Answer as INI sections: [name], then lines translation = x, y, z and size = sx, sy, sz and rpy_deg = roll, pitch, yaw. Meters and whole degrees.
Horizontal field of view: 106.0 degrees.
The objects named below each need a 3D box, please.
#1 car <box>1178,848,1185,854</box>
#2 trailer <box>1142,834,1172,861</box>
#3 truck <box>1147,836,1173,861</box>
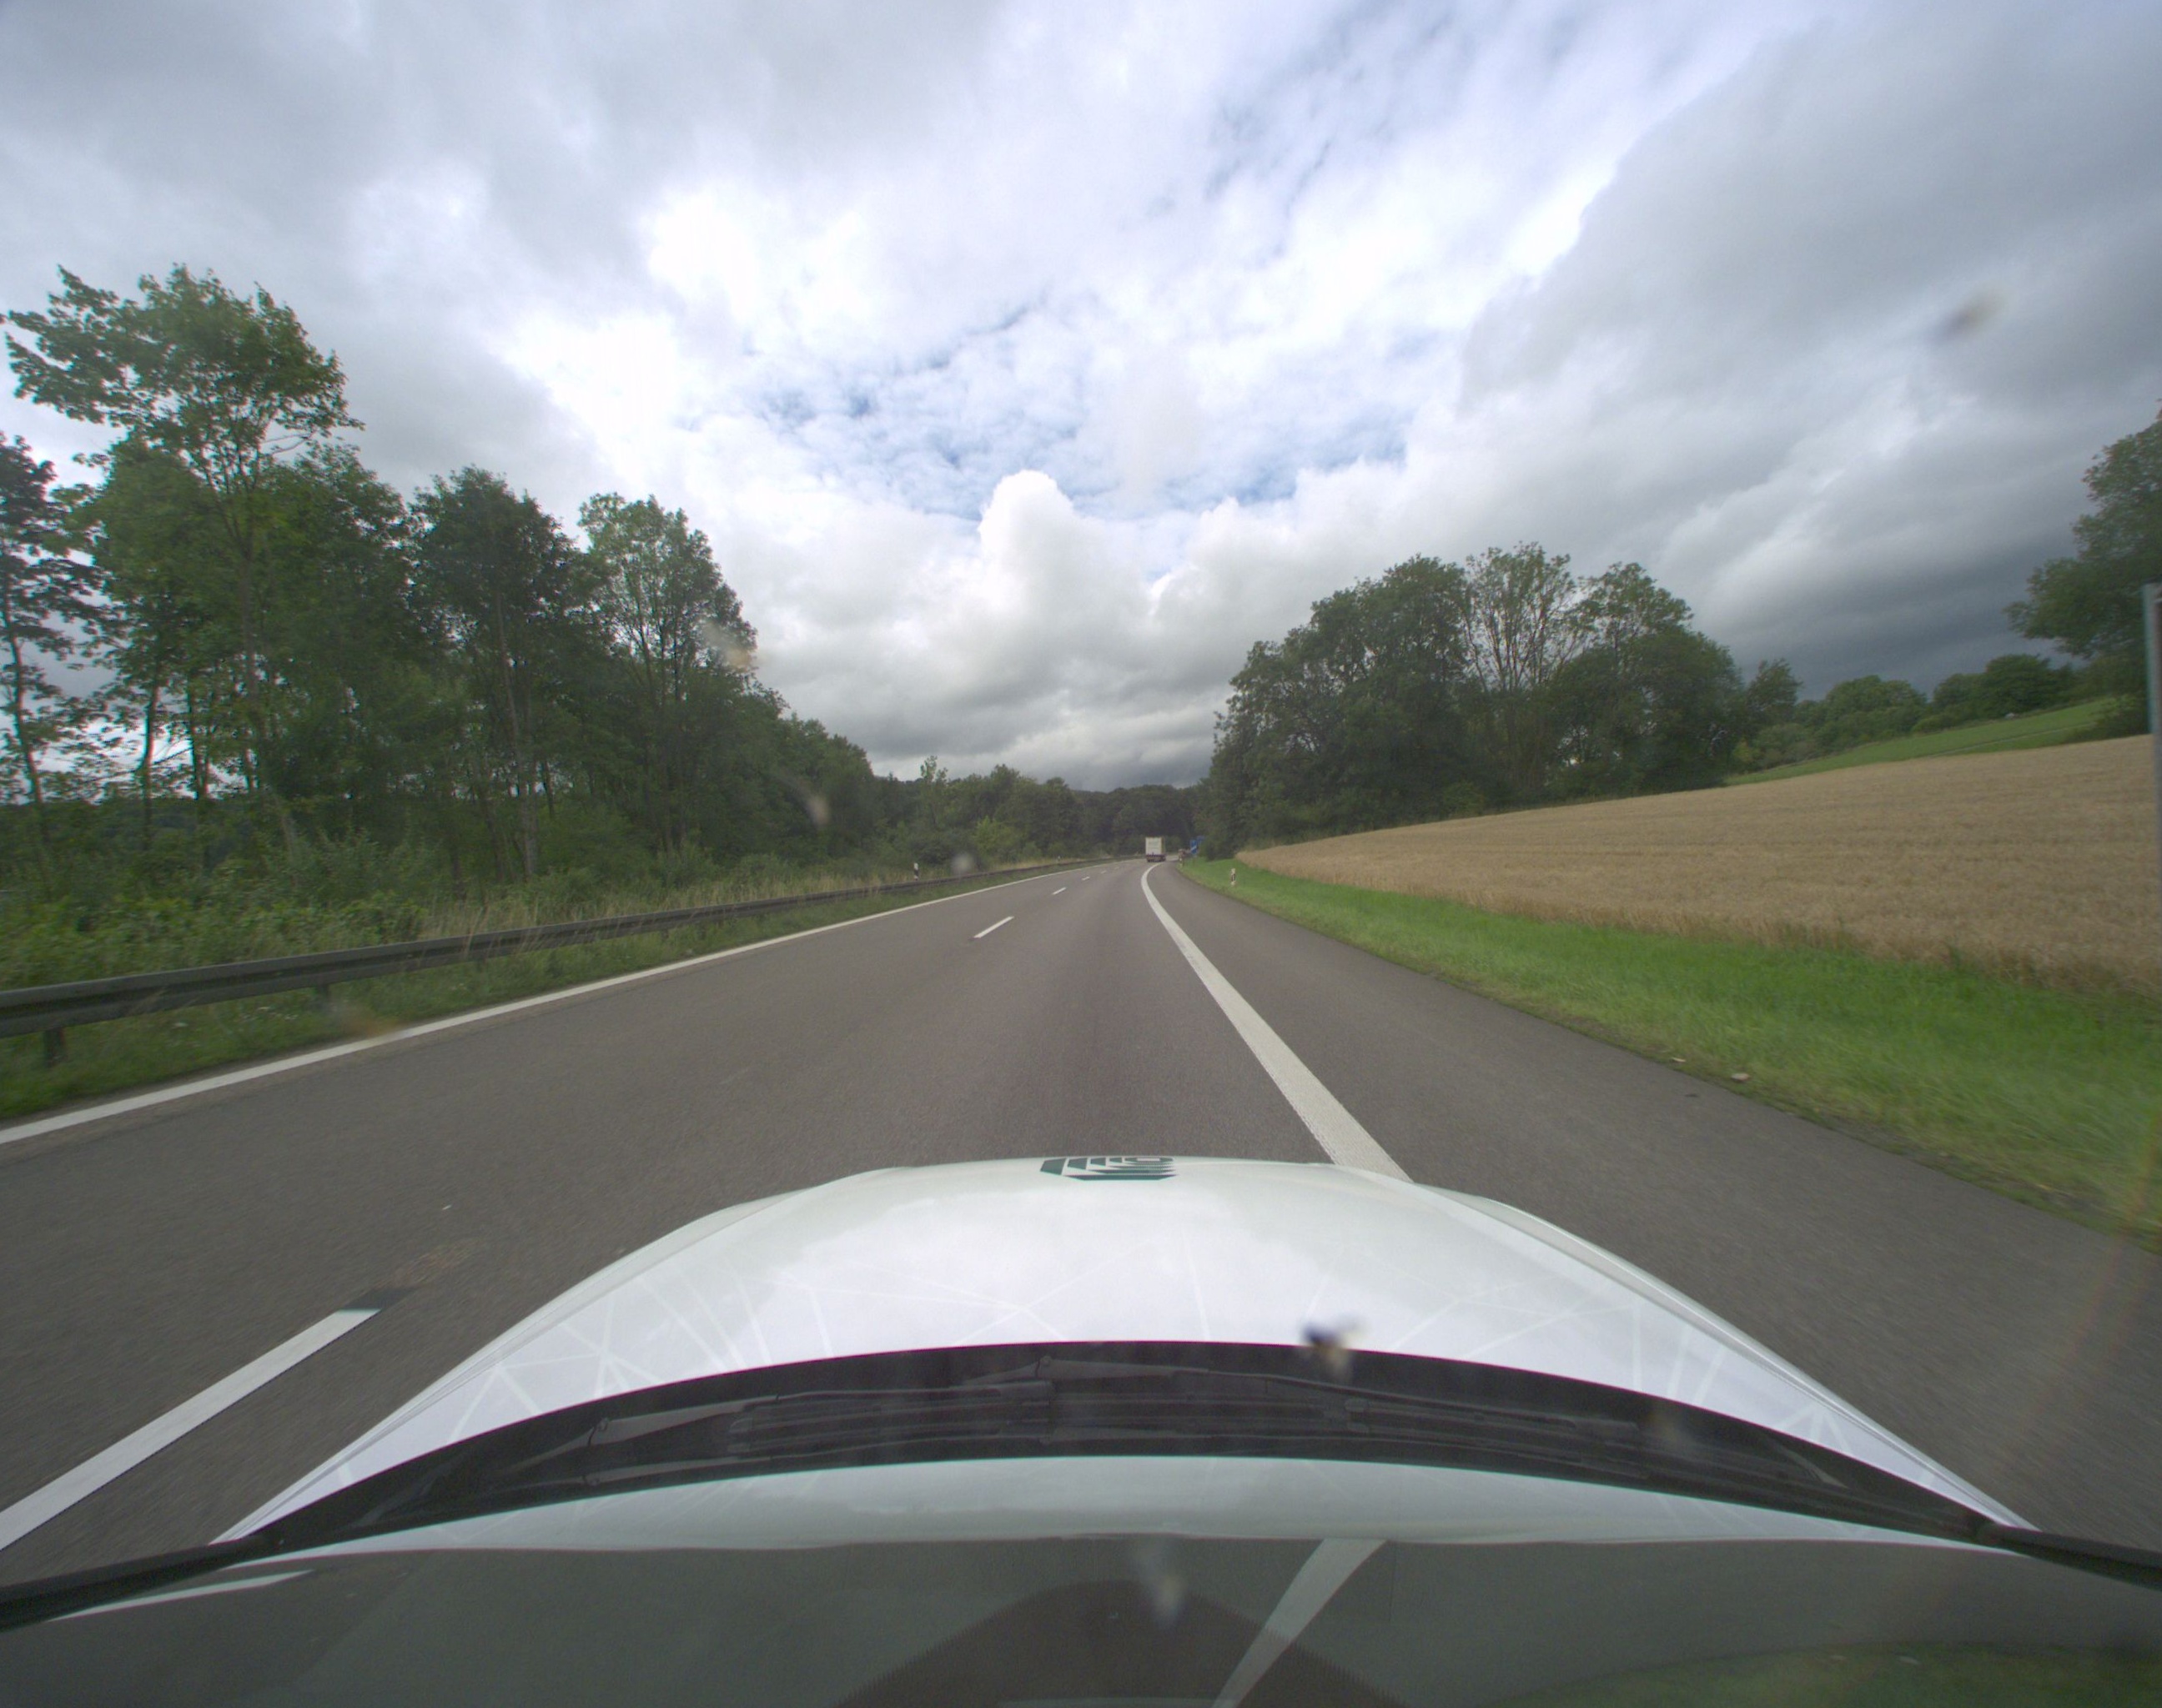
[car]
translation = 28.480, -0.844, 230.338
size = 1.891, 1.795, 4.010
rpy_deg = -1, -1, 9
[trailer]
translation = 12.801, -1.045, 135.672
size = 3.783, 4.174, 14.845
rpy_deg = -2, 0, 9
[truck]
translation = 13.817, -0.986, 142.051
size = 3.765, 4.132, 8.286
rpy_deg = -2, 0, 9
